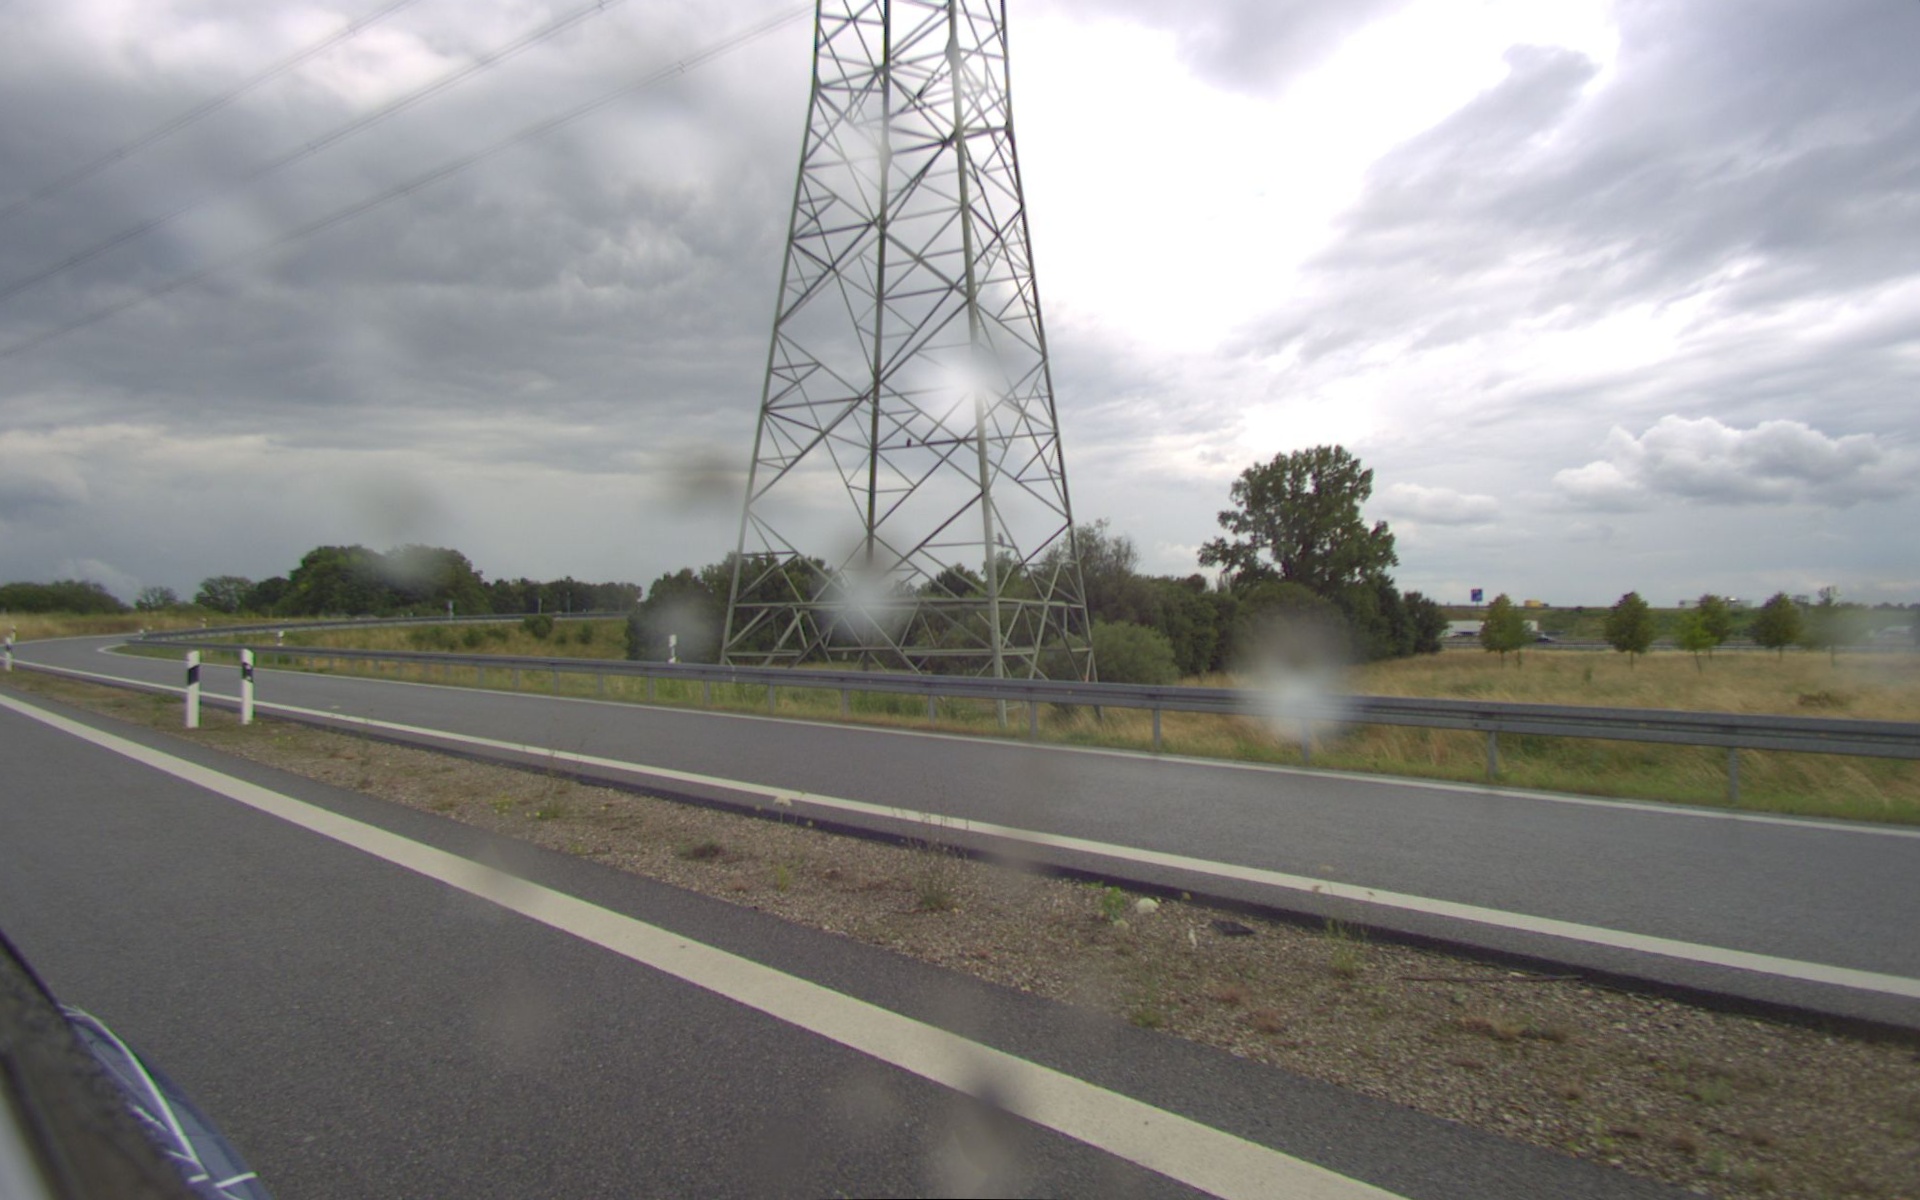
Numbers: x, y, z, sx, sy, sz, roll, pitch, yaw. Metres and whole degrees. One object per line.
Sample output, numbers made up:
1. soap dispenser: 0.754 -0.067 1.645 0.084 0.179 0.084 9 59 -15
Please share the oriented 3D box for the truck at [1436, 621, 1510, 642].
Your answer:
1. truck: 94.275 5.827 186.311 3.177 3.115 12.078 0 -5 -33
